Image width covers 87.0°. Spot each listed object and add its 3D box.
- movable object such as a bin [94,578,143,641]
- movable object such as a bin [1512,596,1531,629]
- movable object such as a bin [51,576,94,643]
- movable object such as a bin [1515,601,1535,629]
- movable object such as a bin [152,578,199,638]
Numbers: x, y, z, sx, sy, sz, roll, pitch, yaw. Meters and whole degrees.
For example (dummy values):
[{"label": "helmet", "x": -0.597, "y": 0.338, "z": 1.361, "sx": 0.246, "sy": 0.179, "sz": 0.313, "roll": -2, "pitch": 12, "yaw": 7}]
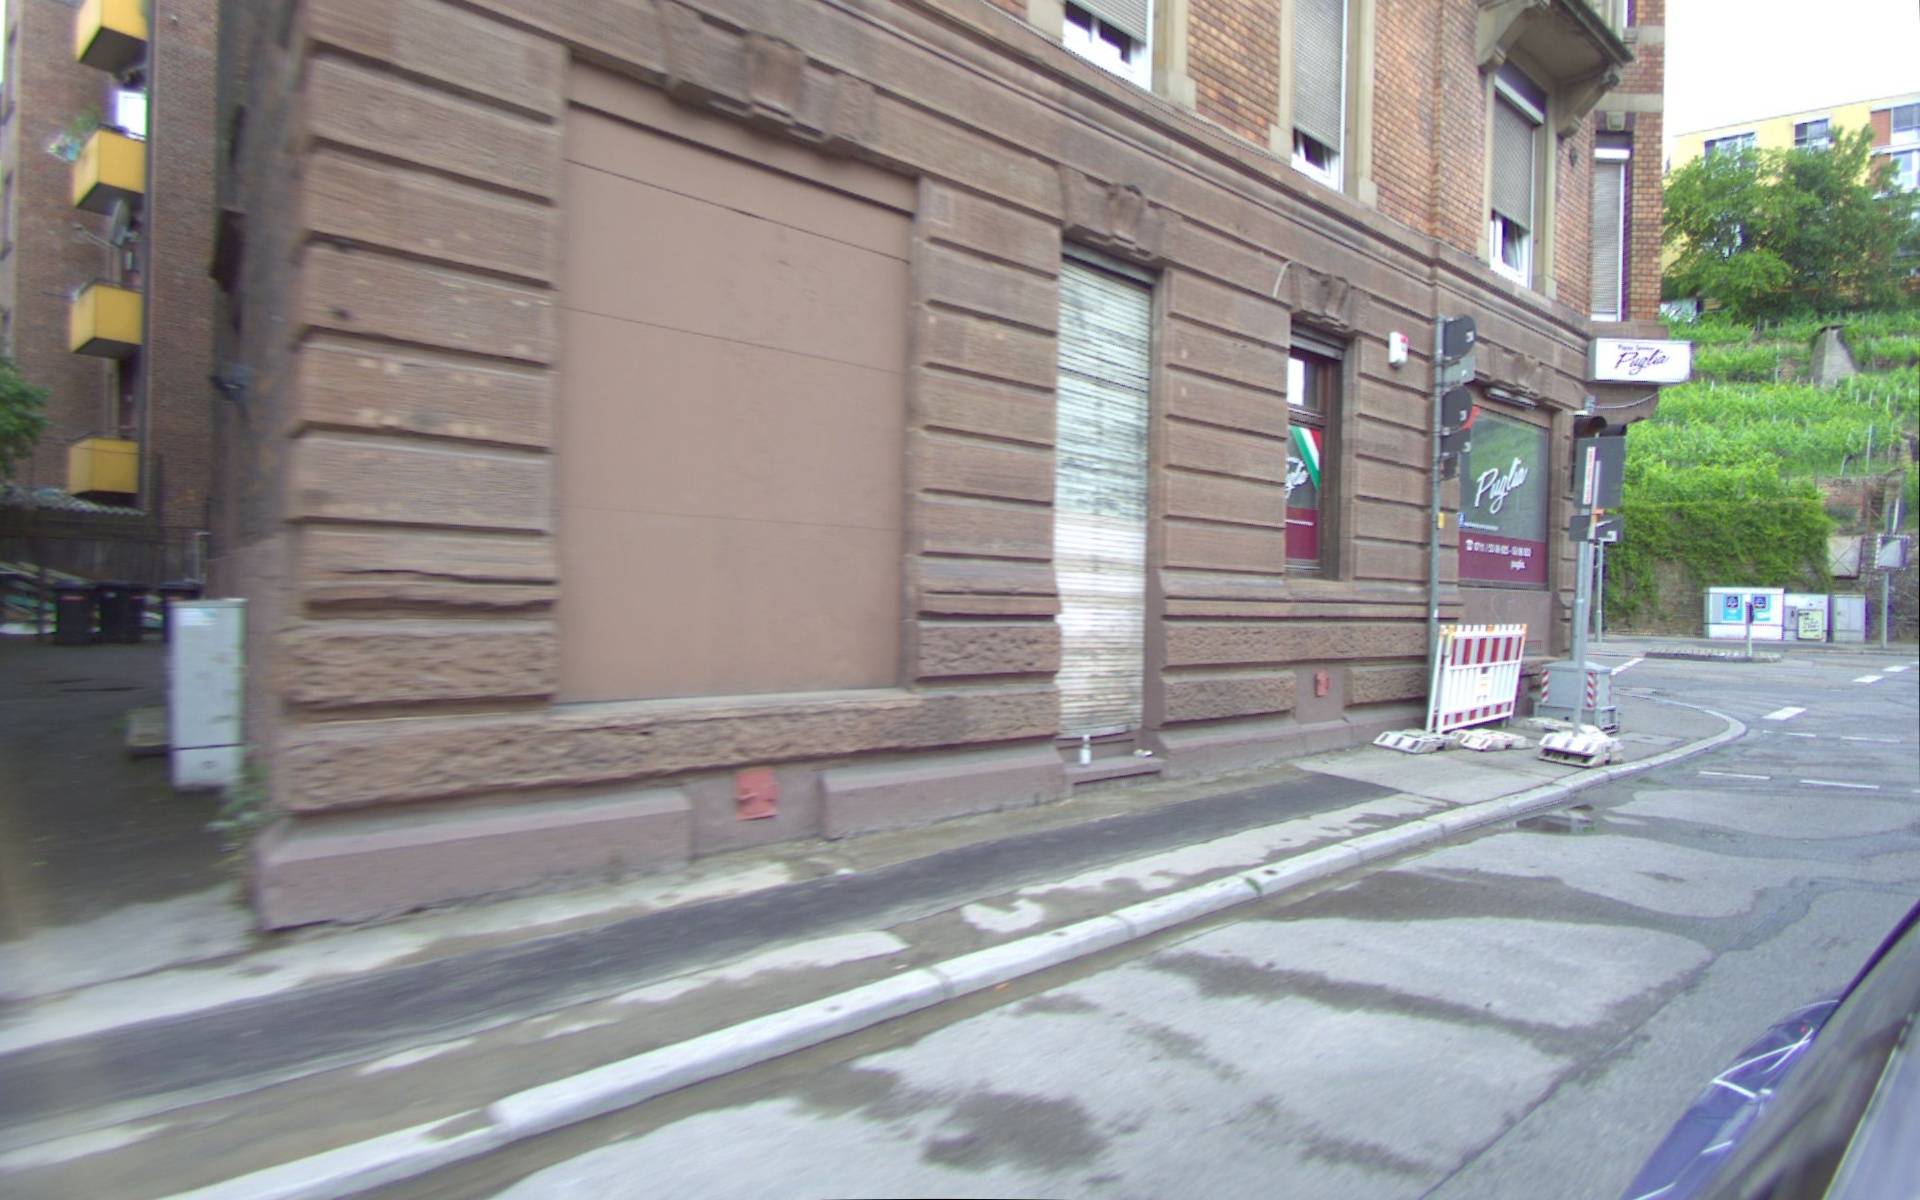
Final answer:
[{"label": "movable object such as a bin", "x": -14.202, "y": 0.150, "z": 17.083, "sx": 0.444, "sy": 1.041, "sz": 0.587, "roll": 0, "pitch": -1, "yaw": 45}, {"label": "movable object such as a bin", "x": 18.867, "y": 0.407, "z": 34.029, "sx": 0.466, "sy": 1.096, "sz": 0.406, "roll": -1, "pitch": 0, "yaw": 15}, {"label": "movable object such as a bin", "x": -14.392, "y": 0.151, "z": 16.409, "sx": 0.444, "sy": 1.055, "sz": 0.488, "roll": 0, "pitch": -1, "yaw": 45}, {"label": "movable object such as a bin", "x": 18.739, "y": 0.496, "z": 33.574, "sx": 0.488, "sy": 0.923, "sz": 0.343, "roll": -1, "pitch": -1, "yaw": 16}, {"label": "movable object such as a bin", "x": -13.719, "y": 0.143, "z": 17.692, "sx": 0.444, "sy": 1.032, "sz": 0.587, "roll": 0, "pitch": -1, "yaw": 45}]
